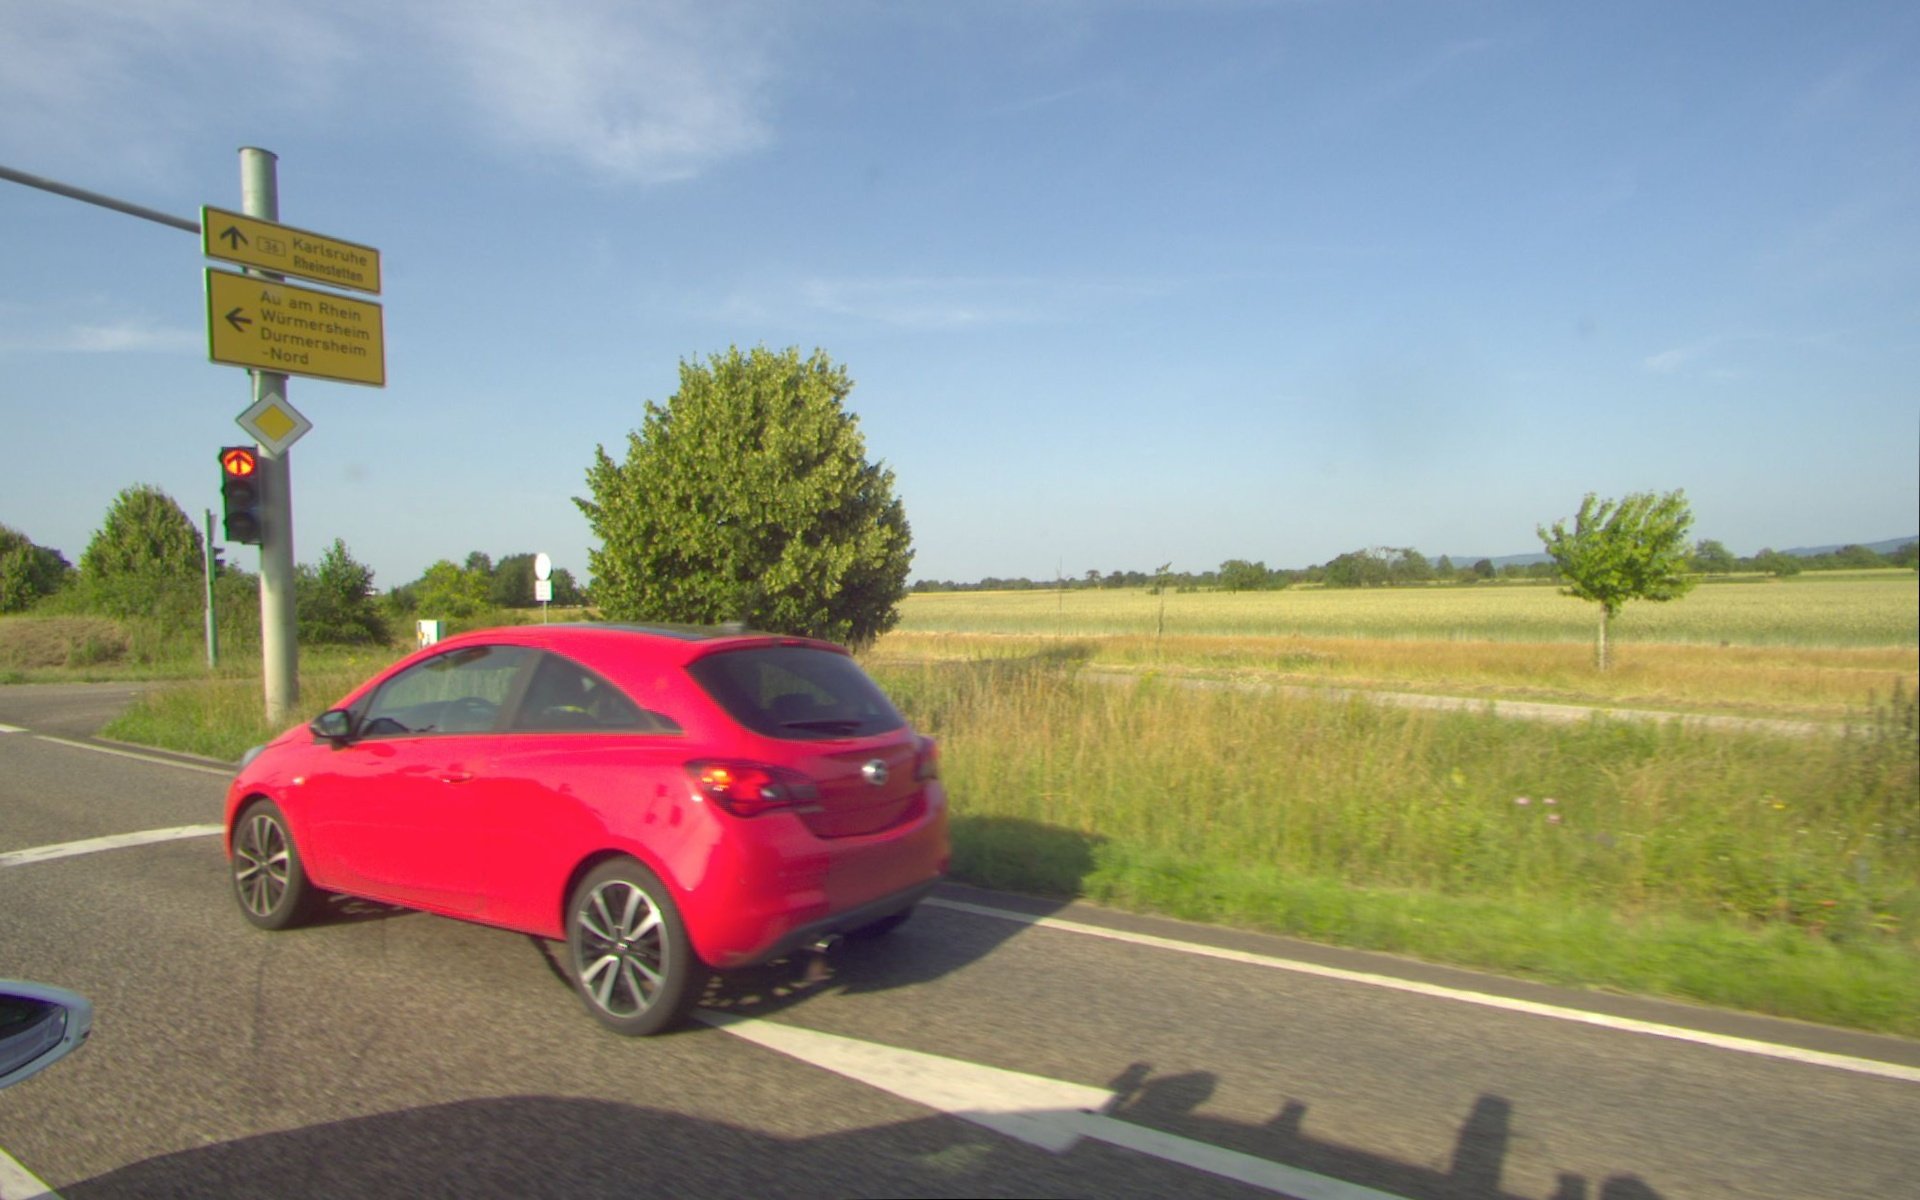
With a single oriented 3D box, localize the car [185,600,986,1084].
[{"bbox_3d":[-1.891,0.801,4.894,3.693,1.570,1.695,0,0,29],"label":"car"}]
